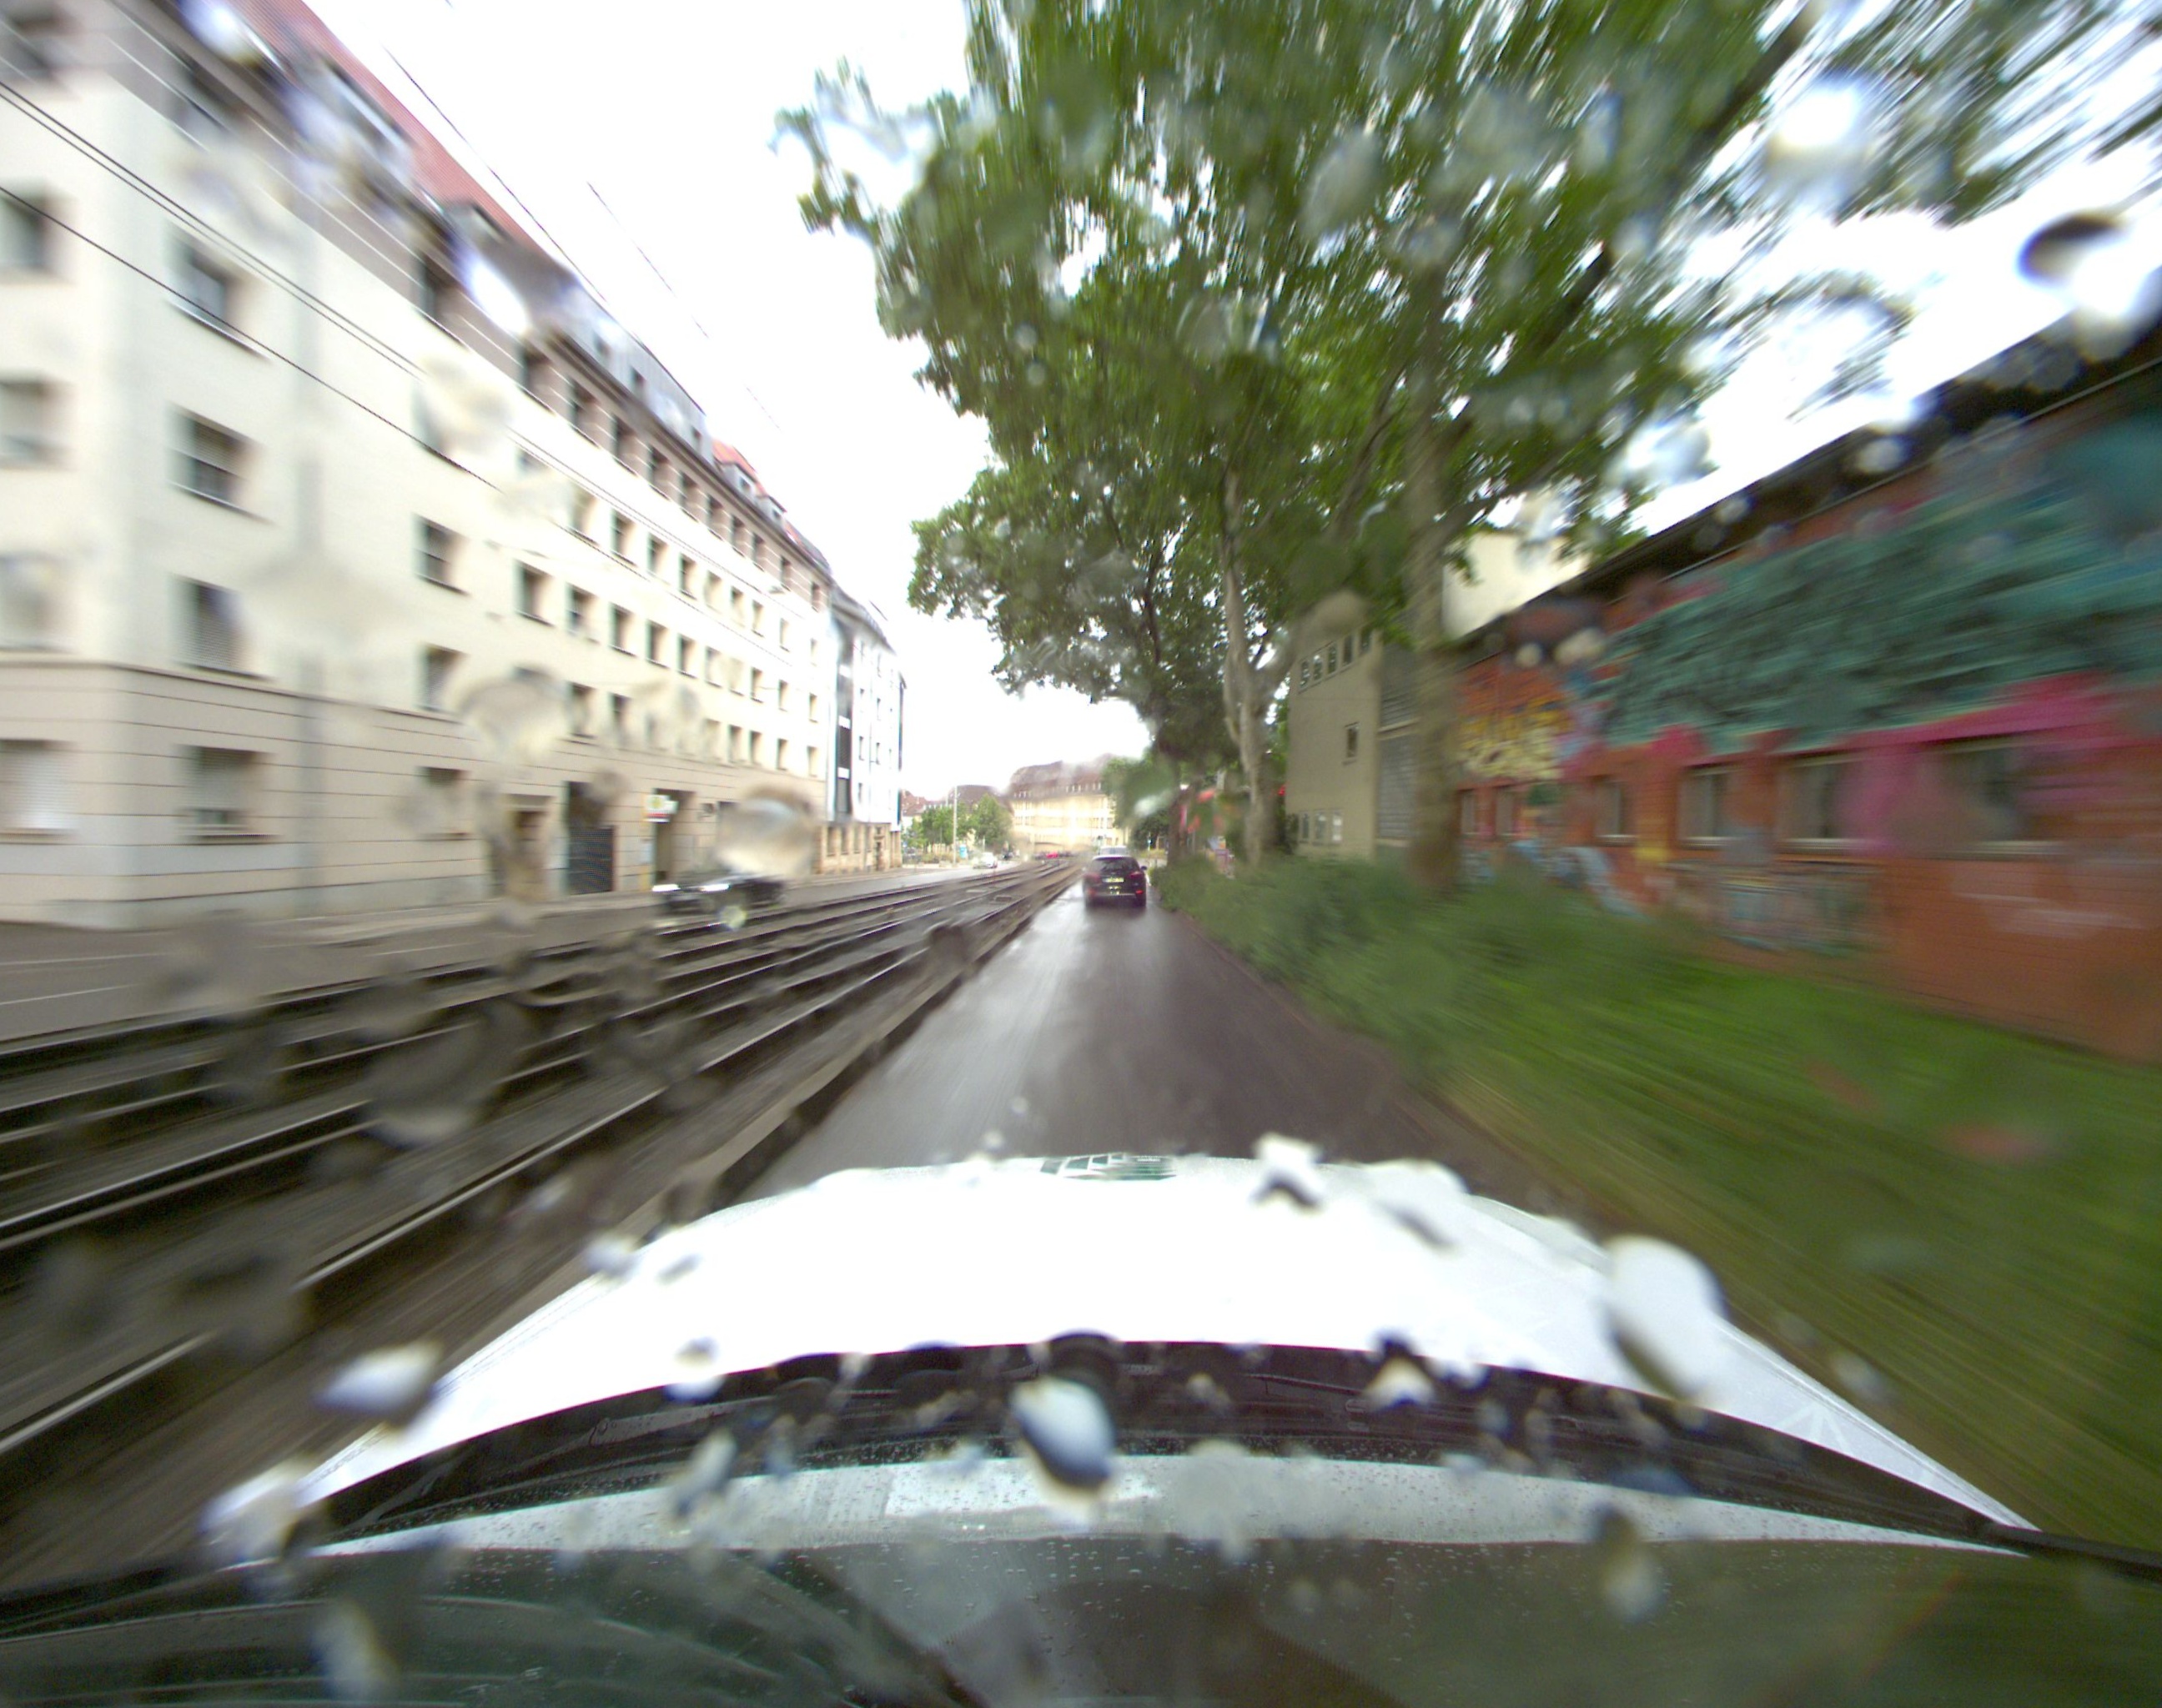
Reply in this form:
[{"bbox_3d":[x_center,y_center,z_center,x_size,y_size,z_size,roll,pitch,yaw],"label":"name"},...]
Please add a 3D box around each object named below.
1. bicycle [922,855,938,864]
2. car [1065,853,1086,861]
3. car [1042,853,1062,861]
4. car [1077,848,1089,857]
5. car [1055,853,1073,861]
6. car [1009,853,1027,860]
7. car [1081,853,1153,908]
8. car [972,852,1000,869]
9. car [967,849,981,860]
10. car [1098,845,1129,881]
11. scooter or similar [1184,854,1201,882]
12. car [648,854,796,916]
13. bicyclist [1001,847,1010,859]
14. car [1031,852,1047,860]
[{"bbox_3d":[-18.929,0.655,102.052,1.808,1.061,0.570,0,0,-1],"label":"bicycle"},{"bbox_3d":[-1.054,0.522,148.600,2.007,1.542,3.959,0,0,-33],"label":"car"},{"bbox_3d":[-5.594,0.599,158.232,2.008,1.542,3.957,0,0,-34],"label":"car"},{"bbox_3d":[0.302,-0.256,144.886,1.655,1.476,3.635,0,0,-7],"label":"car"},{"bbox_3d":[-3.198,0.611,153.718,1.592,1.542,3.959,0,0,-33],"label":"car"},{"bbox_3d":[-13.193,0.475,170.395,2.007,1.542,3.960,0,0,-31],"label":"car"},{"bbox_3d":[1.017,0.717,24.276,1.926,1.453,4.318,1,0,1],"label":"car"},{"bbox_3d":[-8.784,0.567,75.584,1.792,1.482,4.843,0,0,3],"label":"car"},{"bbox_3d":[-15.268,0.049,116.165,1.992,1.542,3.989,0,0,-8],"label":"car"},{"bbox_3d":[1.927,0.510,47.648,1.733,2.013,3.907,0,0,3],"label":"car"},{"bbox_3d":[4.867,0.622,35.559,0.370,1.234,1.378,-1,-2,24],"label":"scooter or similar"},{"bbox_3d":[-9.853,0.770,22.836,1.873,1.486,4.856,0,1,2],"label":"car"},{"bbox_3d":[-8.979,-0.130,96.931,0.777,1.313,0.782,-1,0,-35],"label":"bicyclist"},{"bbox_3d":[-8.400,0.441,162.755,2.004,1.542,3.967,-1,1,-26],"label":"car"}]
